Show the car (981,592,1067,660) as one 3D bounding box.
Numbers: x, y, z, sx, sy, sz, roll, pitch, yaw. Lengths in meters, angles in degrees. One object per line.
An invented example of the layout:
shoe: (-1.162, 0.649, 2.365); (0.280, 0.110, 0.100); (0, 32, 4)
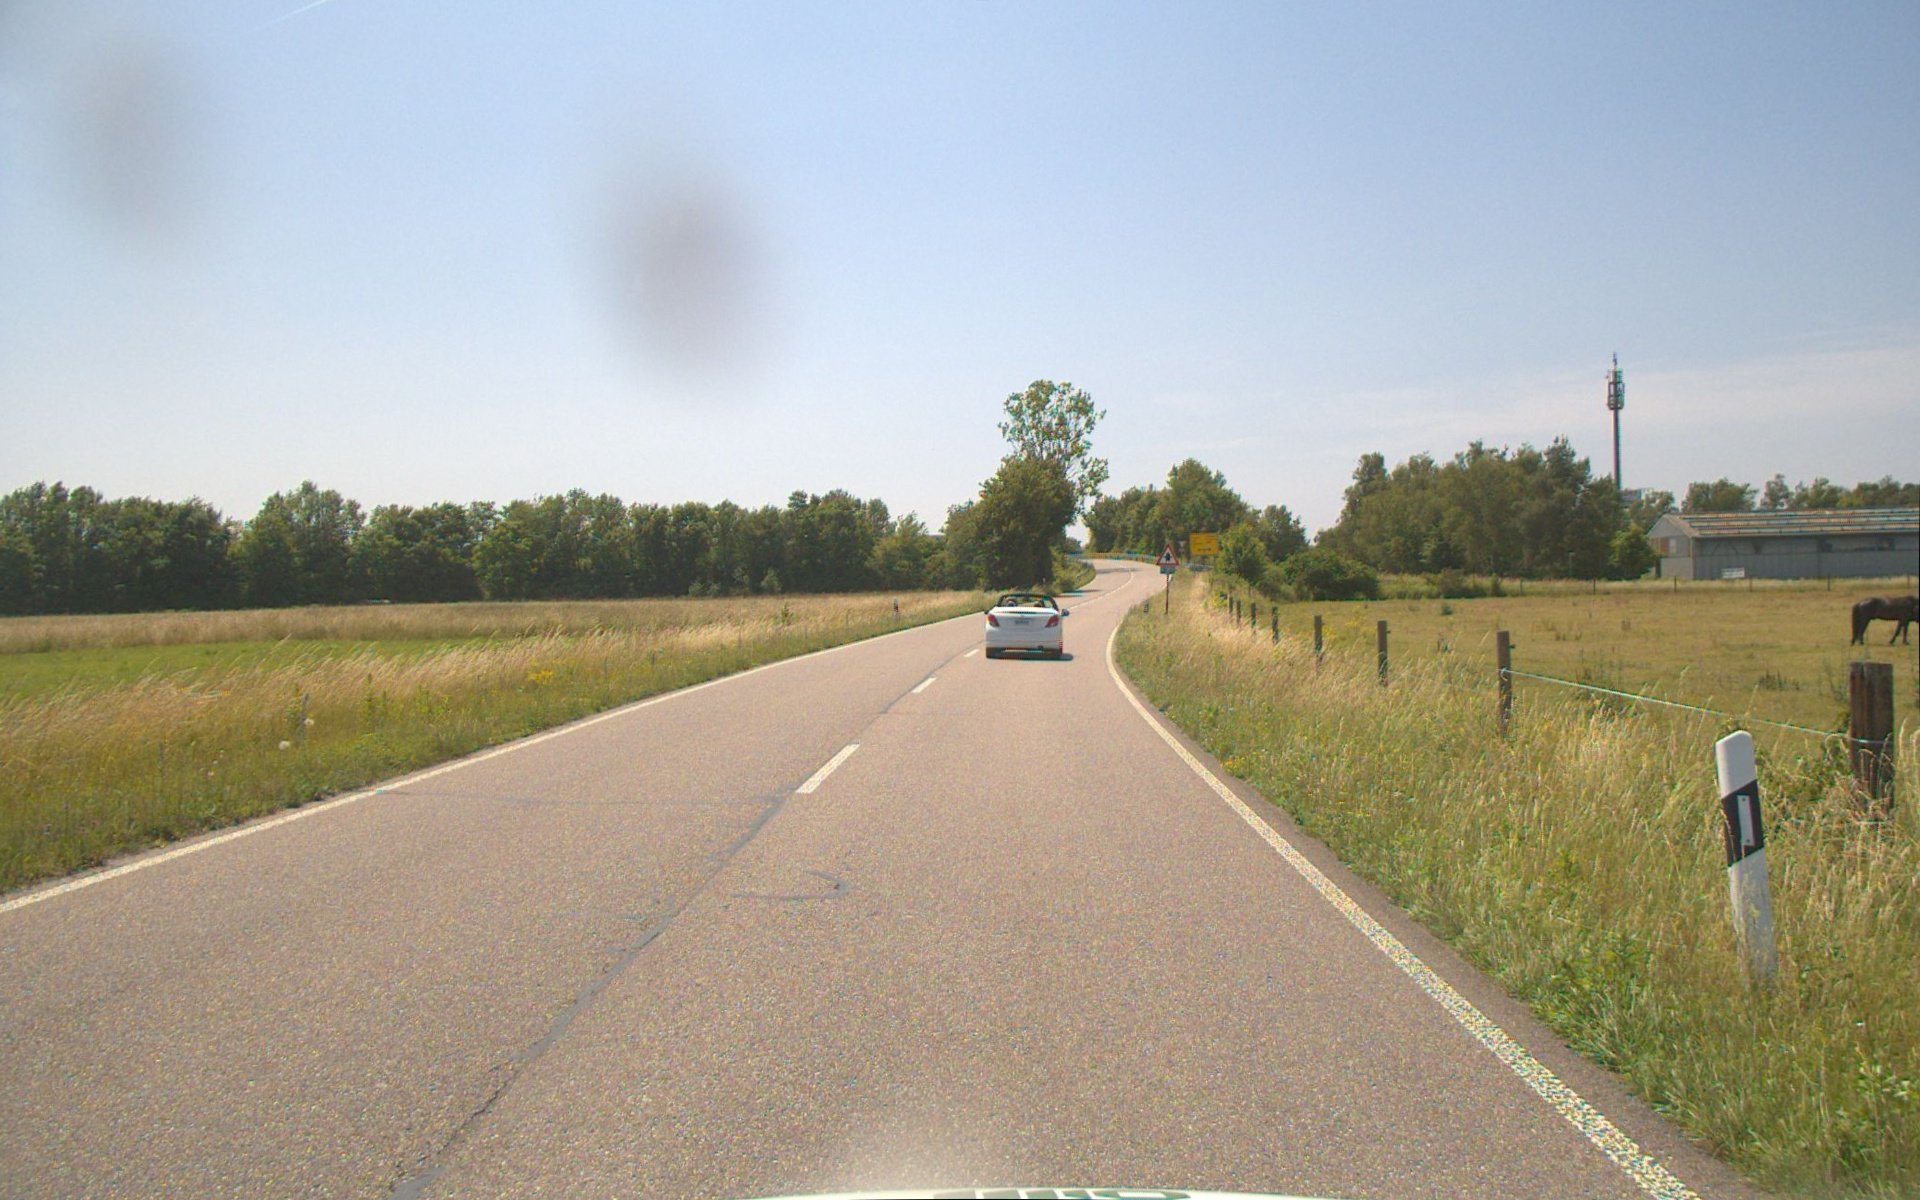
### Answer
car: (1.497, 0.545, 37.342); (1.812, 1.403, 4.002); (0, 1, 4)
